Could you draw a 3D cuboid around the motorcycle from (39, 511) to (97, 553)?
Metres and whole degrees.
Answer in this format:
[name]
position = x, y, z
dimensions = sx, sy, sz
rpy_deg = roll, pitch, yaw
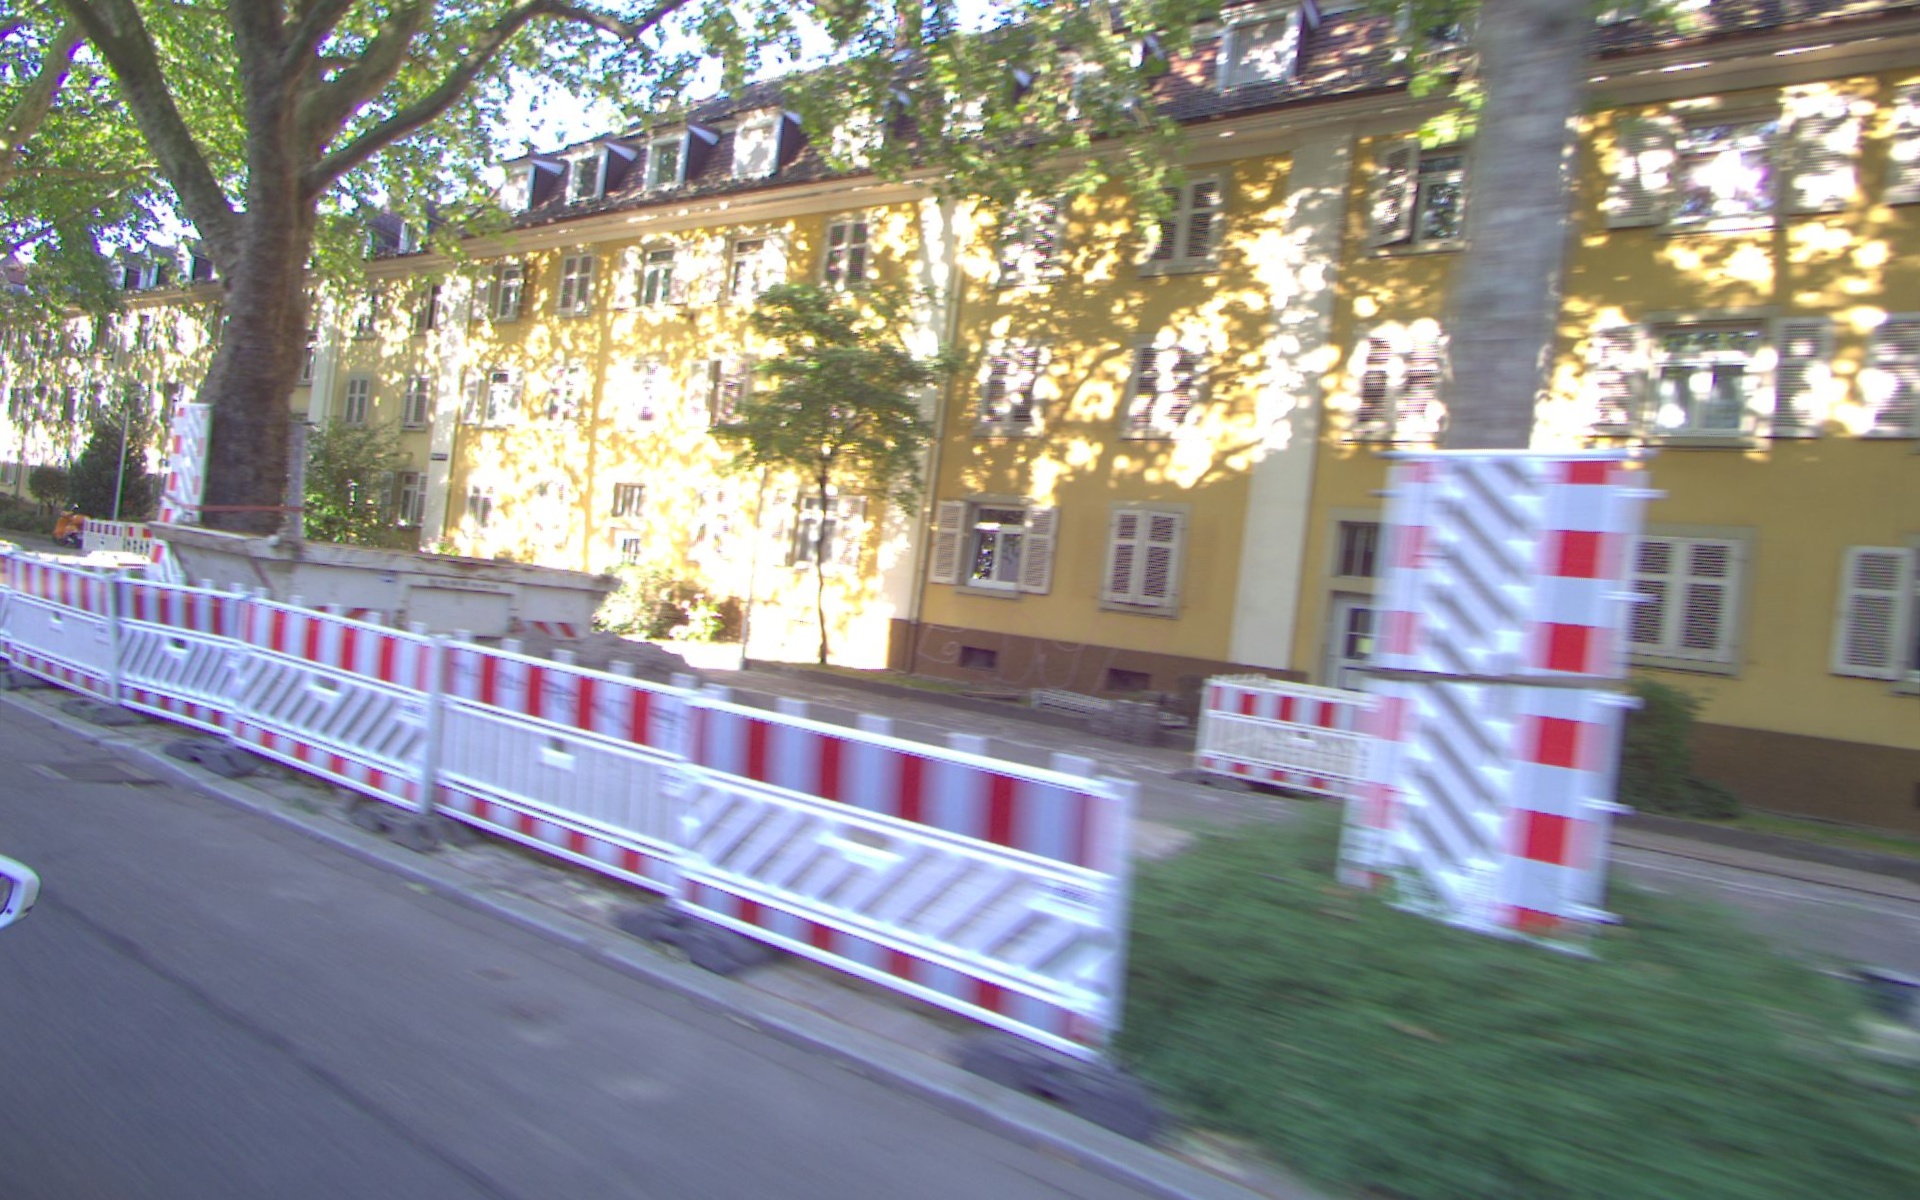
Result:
[motorcycle]
position = -29.084, -2.221, 32.798
dimensions = 2.226, 1.167, 0.716
rpy_deg = 6, 0, 31
